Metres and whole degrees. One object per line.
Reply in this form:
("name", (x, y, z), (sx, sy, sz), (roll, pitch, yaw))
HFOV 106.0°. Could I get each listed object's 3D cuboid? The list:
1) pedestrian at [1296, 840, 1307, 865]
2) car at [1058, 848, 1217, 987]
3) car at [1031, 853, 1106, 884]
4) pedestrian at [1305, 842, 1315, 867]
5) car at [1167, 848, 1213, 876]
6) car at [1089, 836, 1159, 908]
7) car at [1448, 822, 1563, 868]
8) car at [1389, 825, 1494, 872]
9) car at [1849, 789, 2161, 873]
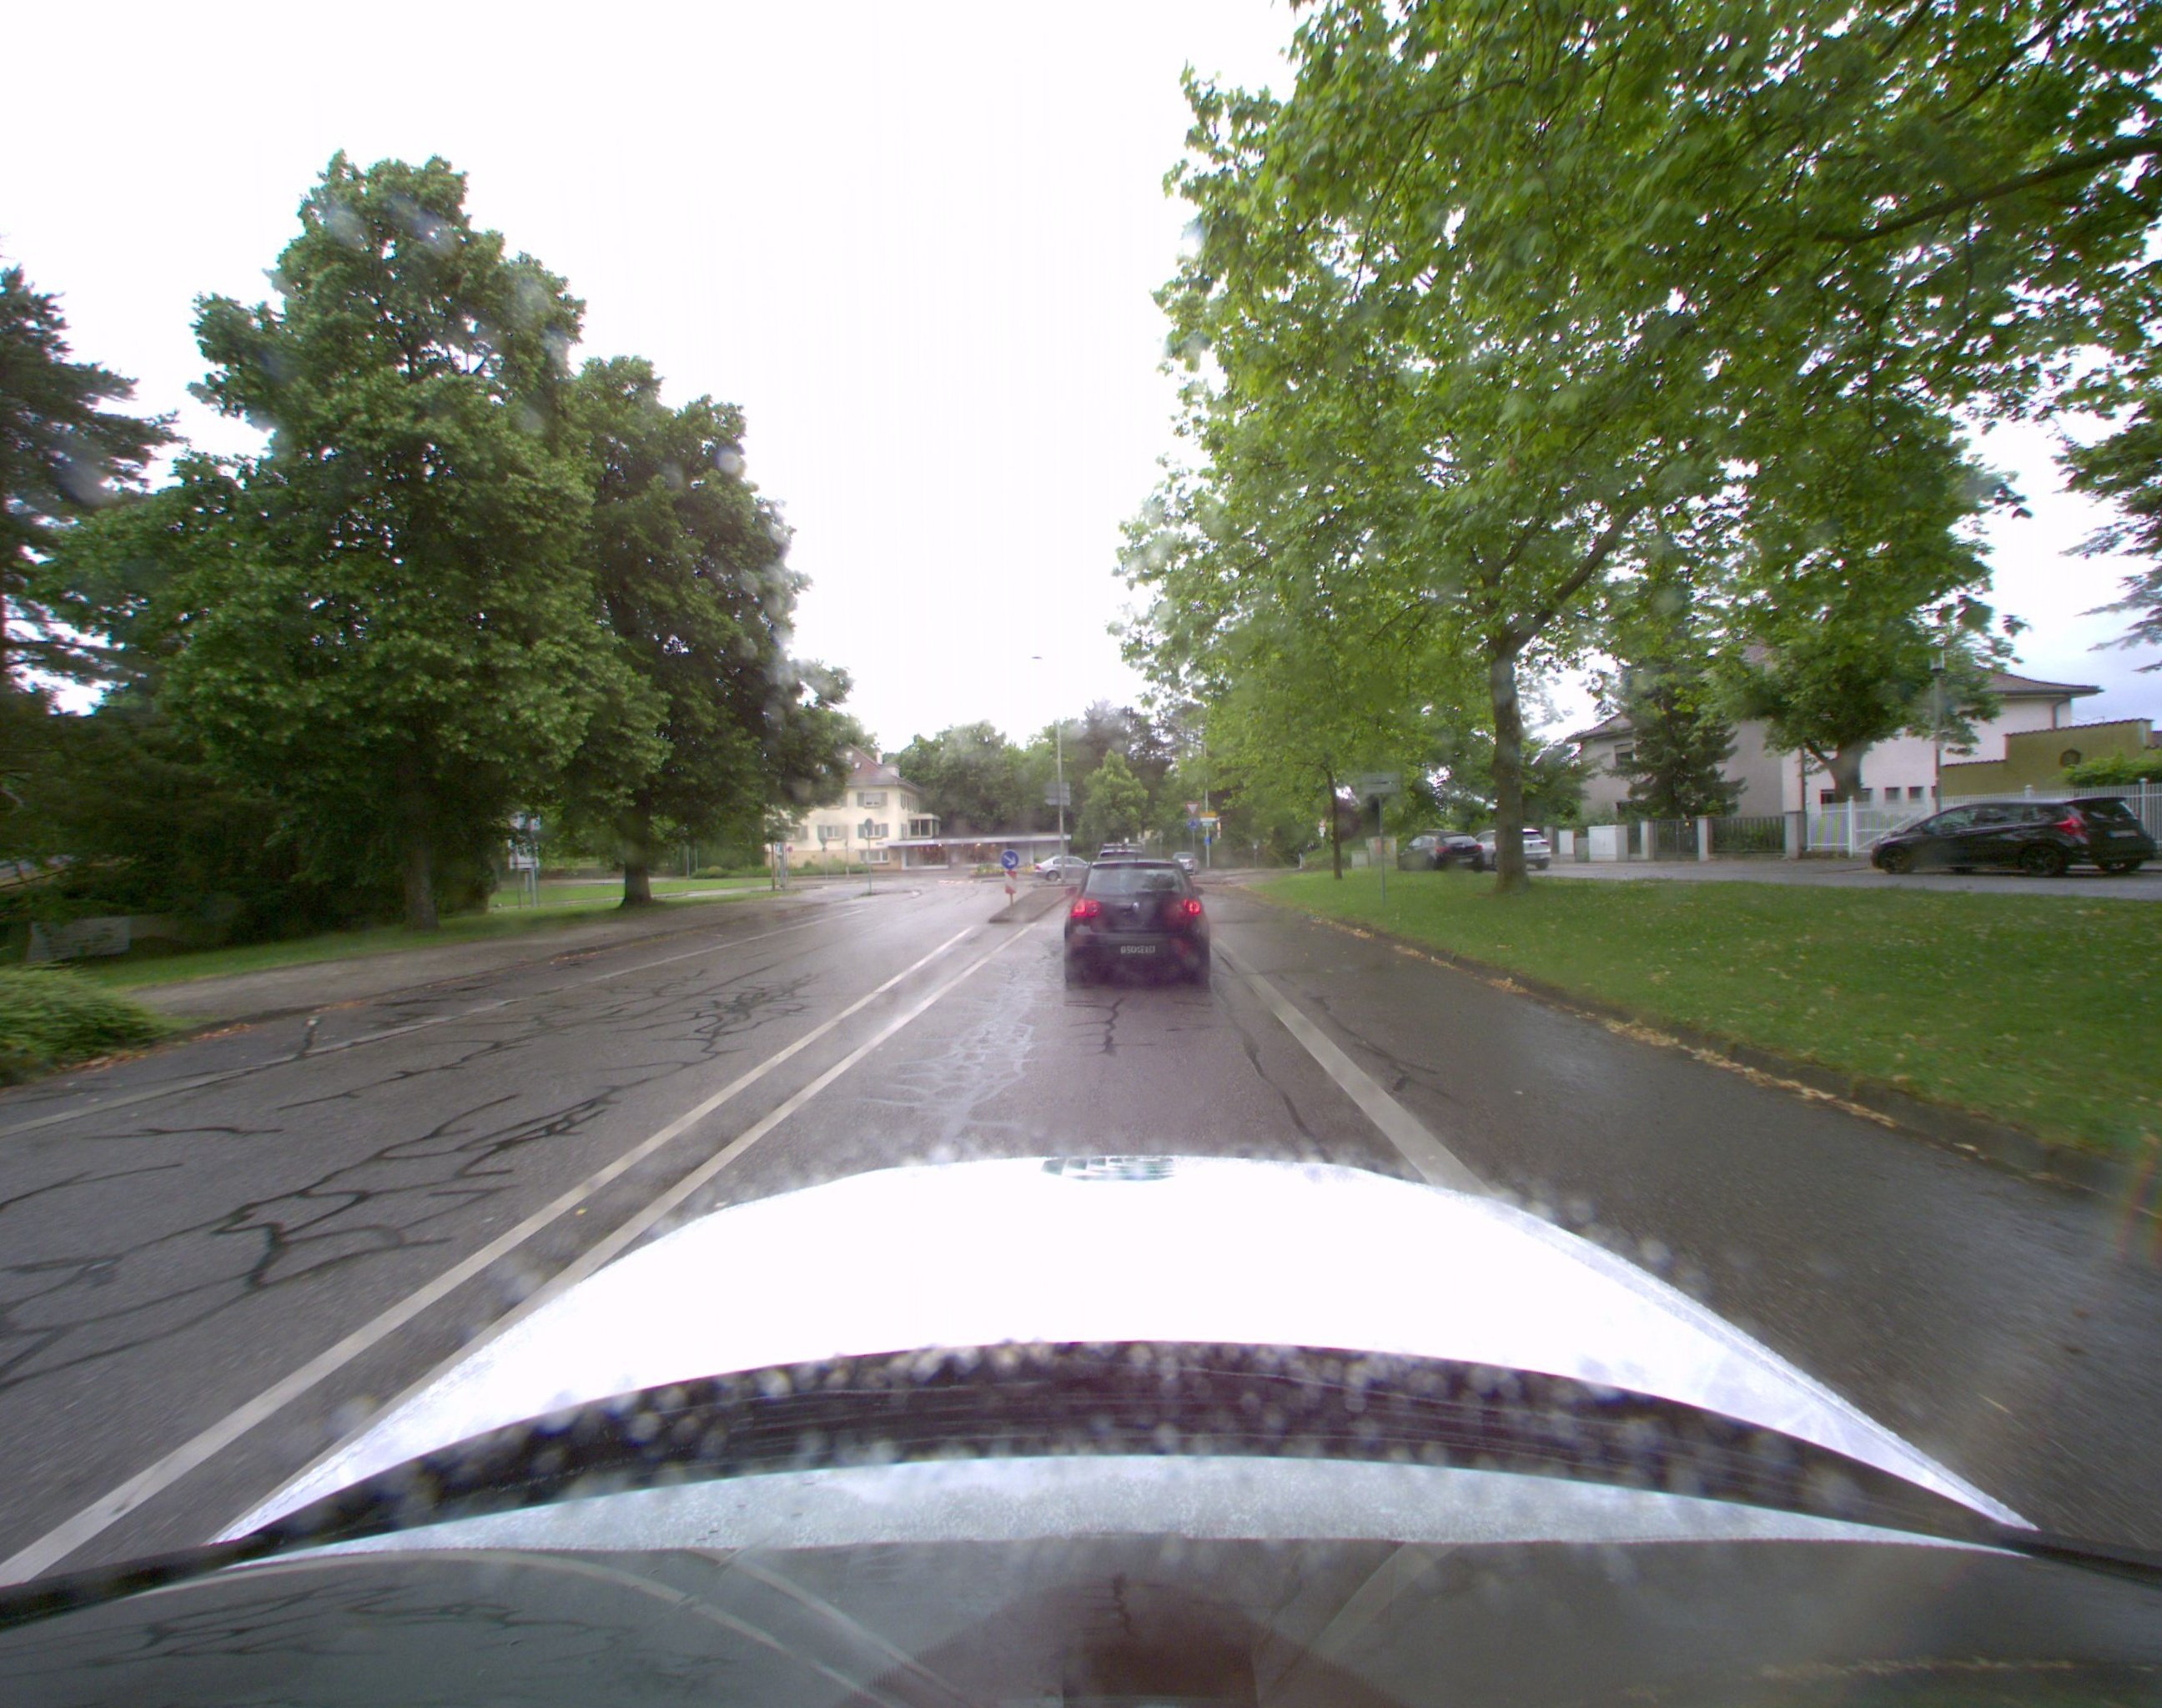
("pedestrian", (15.060, -0.104, 55.648), (0.528, 1.713, 0.633), (0, -1, -12))
("car", (0.726, 0.709, 11.044), (1.757, 1.538, 4.003), (0, 0, 3))
("car", (-0.721, 0.807, 45.718), (4.017, 1.684, 1.995), (0, -1, -8))
("pedestrian", (15.822, 0.053, 56.187), (0.629, 1.713, 0.532), (-1, -1, 18))
("car", (7.022, 0.528, 52.351), (1.976, 1.741, 4.165), (-1, -1, 21))
("car", (1.169, 0.486, 23.612), (1.759, 1.801, 4.246), (-3, -1, 1))
("car", (15.441, -0.274, 29.923), (1.839, 1.471, 4.425), (-3, 0, 0))
("car", (12.987, -0.161, 29.694), (1.758, 1.471, 4.598), (-4, 0, 1))
("car", (18.743, -0.402, 16.713), (1.756, 1.471, 4.353), (-1, 0, -2))
